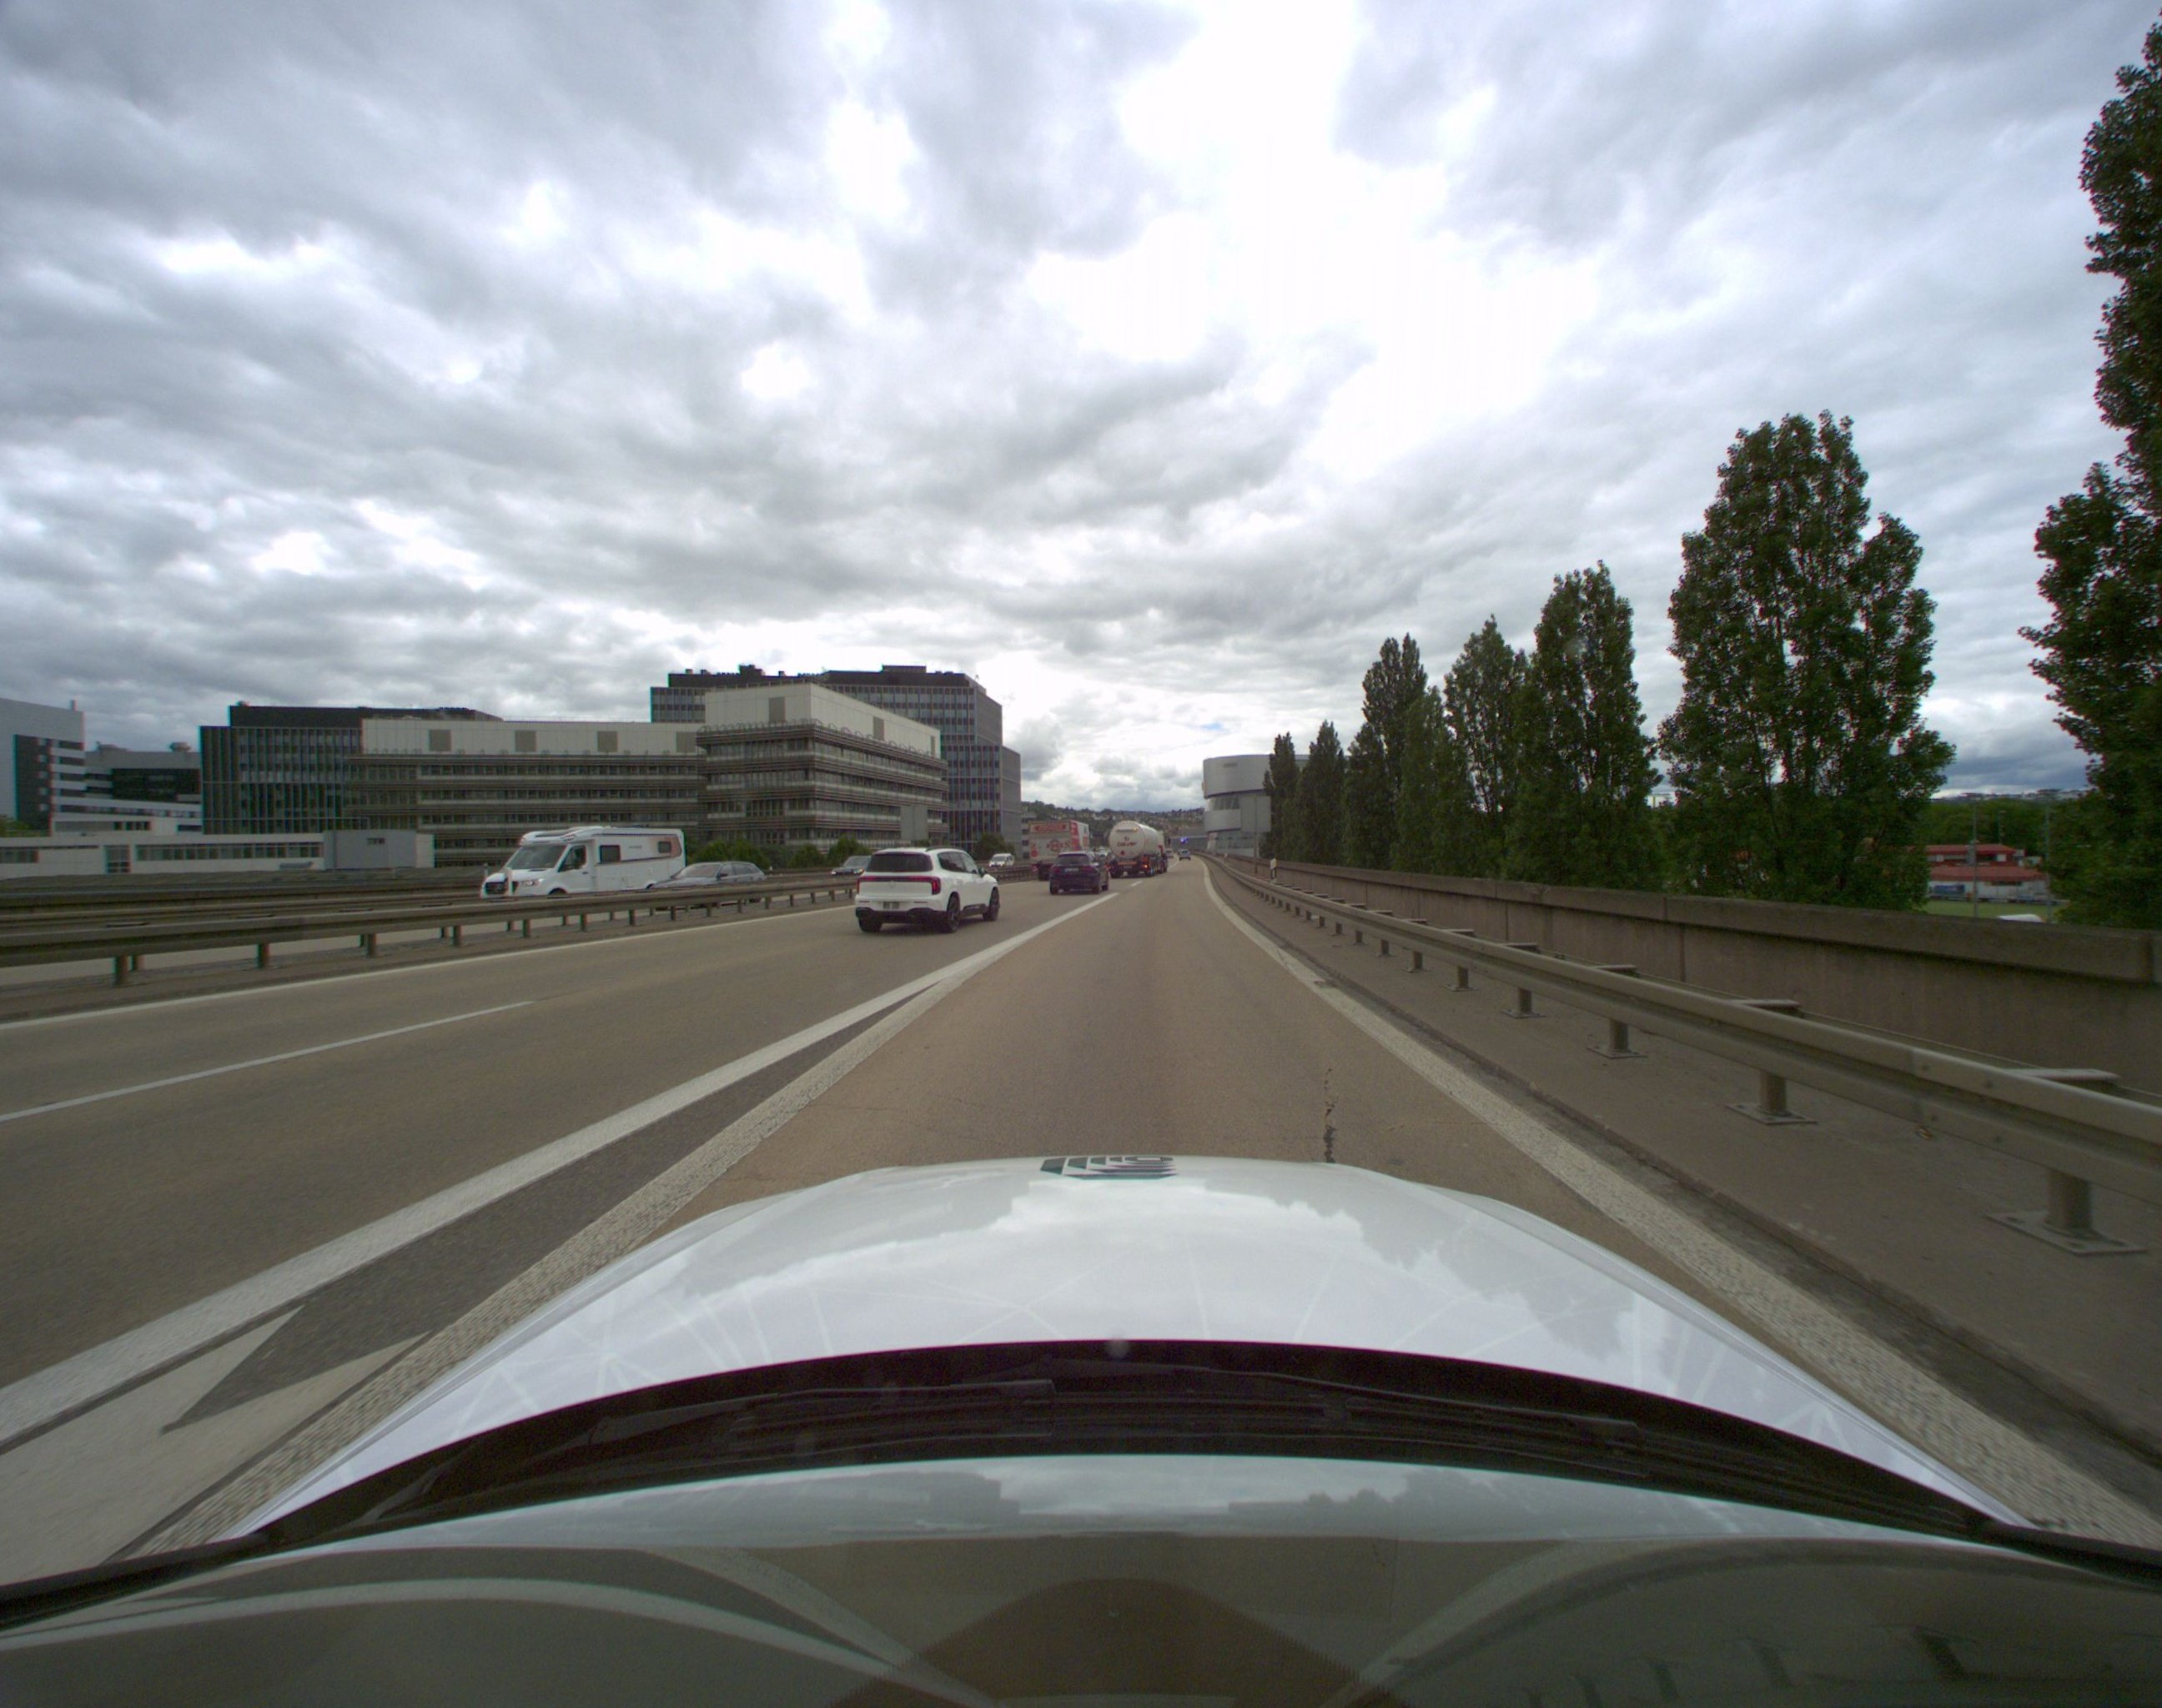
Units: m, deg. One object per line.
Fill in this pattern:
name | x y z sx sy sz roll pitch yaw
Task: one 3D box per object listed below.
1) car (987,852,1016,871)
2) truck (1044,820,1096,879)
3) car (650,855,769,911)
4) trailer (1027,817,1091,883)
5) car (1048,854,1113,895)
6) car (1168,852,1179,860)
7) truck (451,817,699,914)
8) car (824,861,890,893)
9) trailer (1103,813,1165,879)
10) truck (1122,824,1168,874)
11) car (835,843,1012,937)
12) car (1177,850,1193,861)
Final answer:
car | -7.758 0.723 79.976 1.857 1.711 4.610 -3 0 7
truck | -0.679 -0.301 55.070 2.676 3.690 4.449 -3 0 8
car | -11.840 0.862 26.228 1.635 1.585 3.728 -3 0 9
trailer | -1.247 -0.264 50.937 2.676 3.690 7.329 -3 0 7
car | 0.074 0.753 31.865 1.835 1.505 4.277 0 0 10
car | 18.241 0.403 161.423 1.984 1.538 4.005 4 -1 5
truck | -16.008 0.317 26.606 2.475 2.626 7.369 -3 0 10
car | -13.055 1.304 47.794 1.982 1.636 4.643 -3 0 9
trailer | 3.666 -0.480 53.141 2.775 3.737 11.184 -3 0 9
truck | 4.774 -0.364 59.855 2.752 3.430 5.981 -3 0 9
car | -3.112 0.662 17.299 1.981 1.668 4.906 1 0 11
car | 16.959 0.304 133.008 1.979 1.538 4.016 4 0 16
